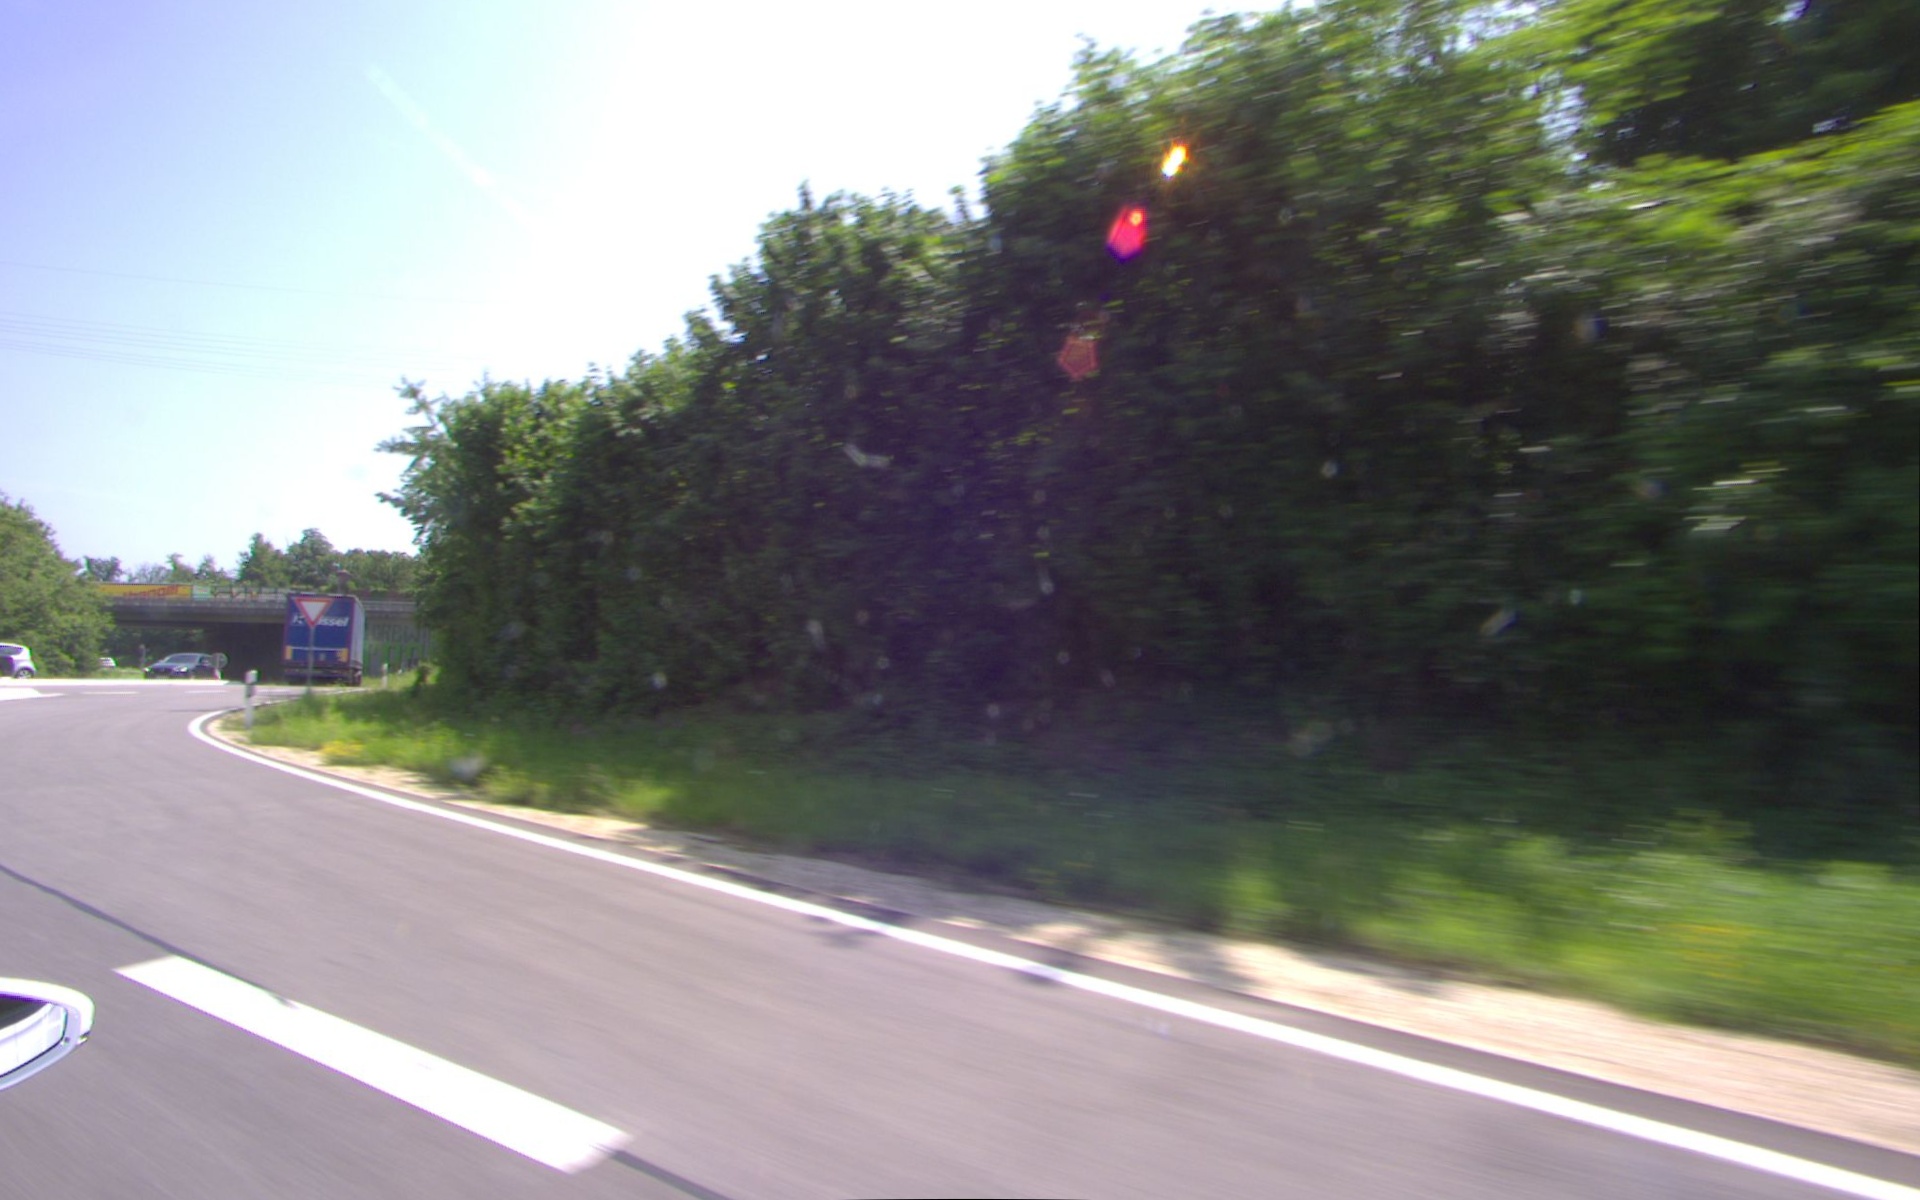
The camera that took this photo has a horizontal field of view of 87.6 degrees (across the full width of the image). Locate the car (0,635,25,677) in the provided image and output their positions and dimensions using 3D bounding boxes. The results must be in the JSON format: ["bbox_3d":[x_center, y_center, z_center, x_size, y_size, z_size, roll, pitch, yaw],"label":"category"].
[{"bbox_3d":[-35.427,1.948,34.560,1.832,1.492,4.566,1,-2,5],"label":"car"}]

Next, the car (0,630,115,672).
[{"bbox_3d":[-37.245,2.044,40.982,1.809,1.600,3.996,0,-2,2],"label":"car"}]

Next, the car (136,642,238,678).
[{"bbox_3d":[-35.747,2.793,46.464,1.777,1.618,4.100,0,-3,-5],"label":"car"}]

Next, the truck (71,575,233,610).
[{"bbox_3d":[-95.944,-0.811,119.050,16.389,3.969,4.453,0,-1,4],"label":"truck"}]

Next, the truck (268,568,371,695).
[{"bbox_3d":[-31.695,1.572,50.157,3.325,5.383,15.269,1,-2,-29],"label":"truck"}]
